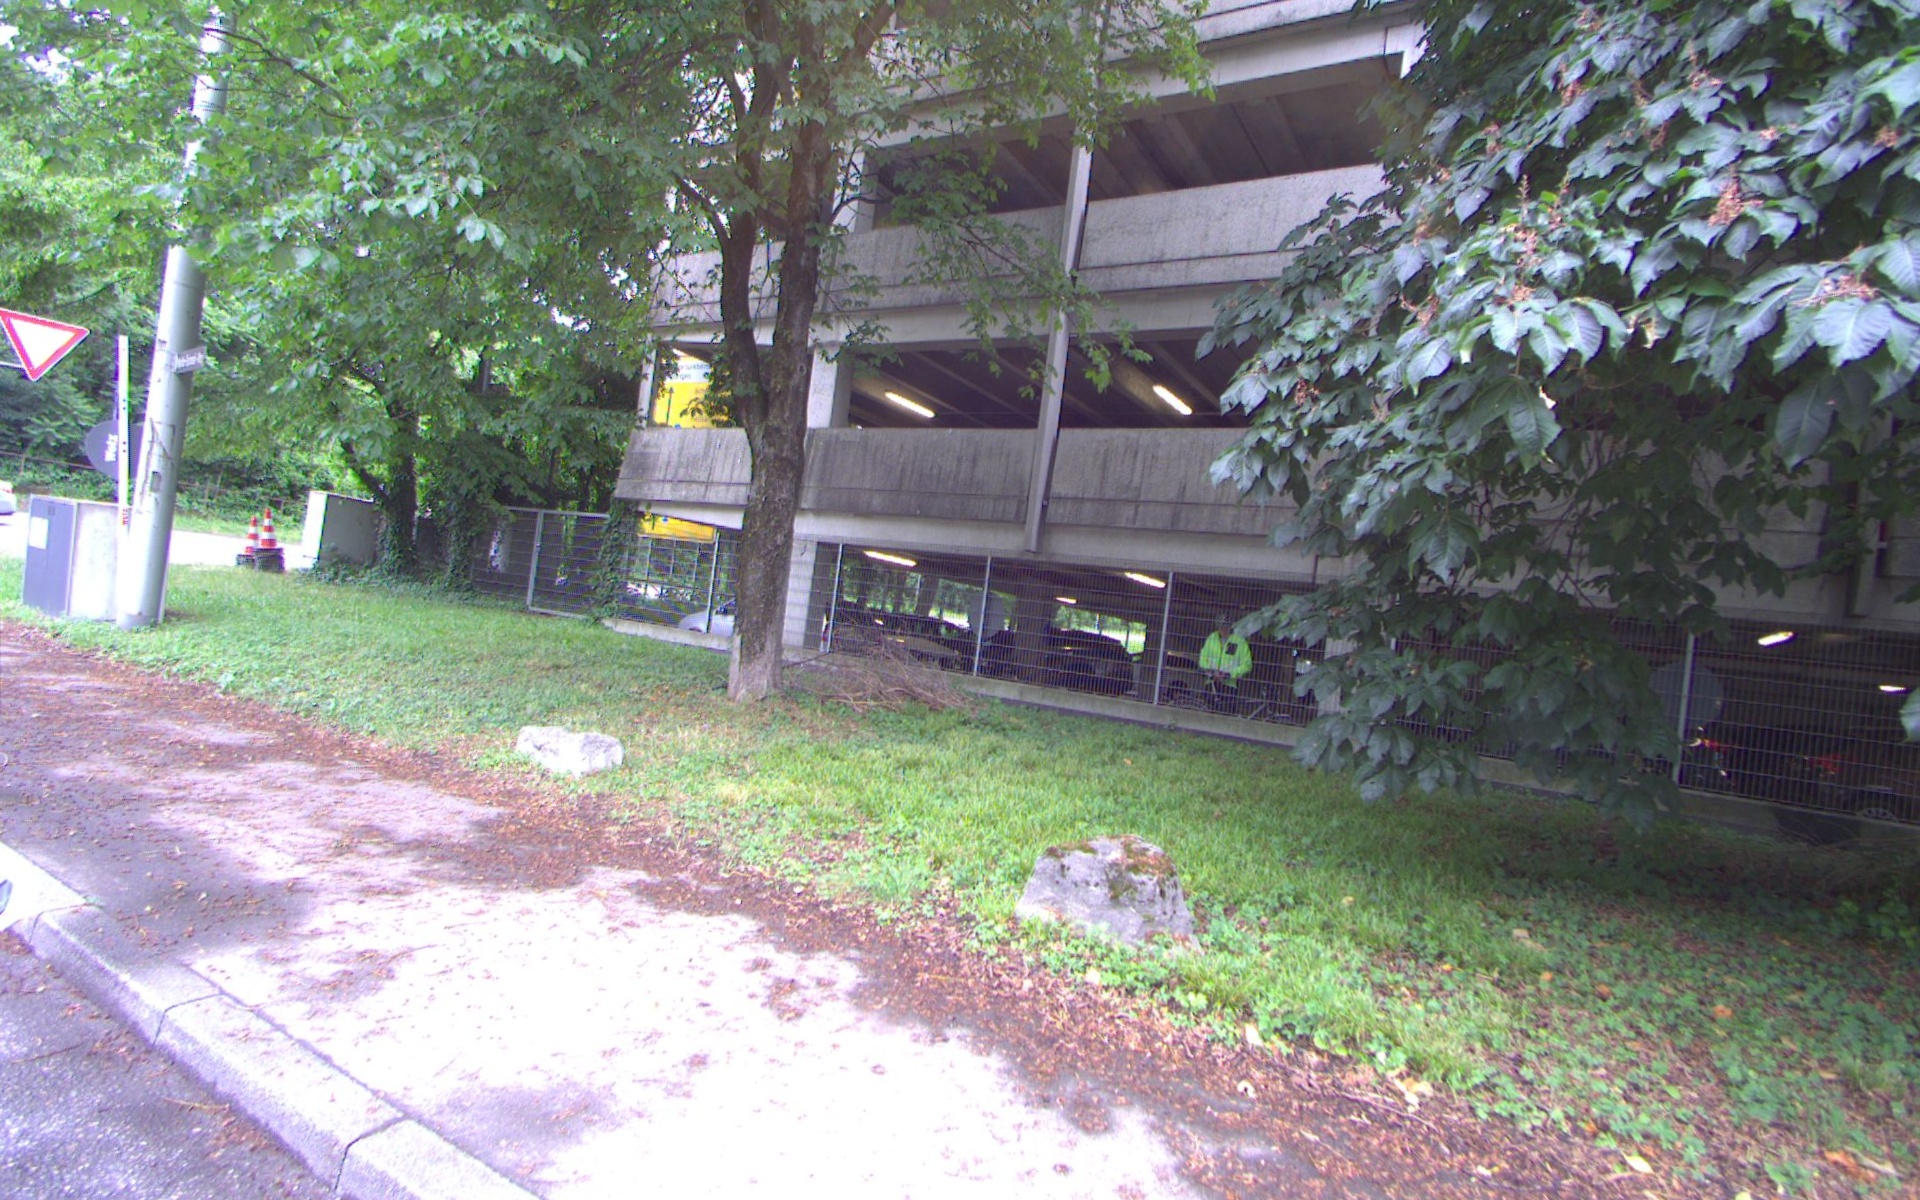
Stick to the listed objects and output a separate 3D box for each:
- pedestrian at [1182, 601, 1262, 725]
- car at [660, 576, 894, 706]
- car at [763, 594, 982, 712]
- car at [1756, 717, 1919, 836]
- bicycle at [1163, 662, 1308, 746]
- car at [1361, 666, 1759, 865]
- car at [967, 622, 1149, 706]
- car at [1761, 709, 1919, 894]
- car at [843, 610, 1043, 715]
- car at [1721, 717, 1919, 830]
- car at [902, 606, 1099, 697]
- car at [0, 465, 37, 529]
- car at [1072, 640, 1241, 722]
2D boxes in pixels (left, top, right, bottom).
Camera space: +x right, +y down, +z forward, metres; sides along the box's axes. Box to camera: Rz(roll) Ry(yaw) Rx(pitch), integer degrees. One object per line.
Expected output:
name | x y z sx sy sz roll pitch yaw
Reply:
pedestrian | 3.032 0.737 11.618 0.626 1.332 0.642 5 -3 31
car | -3.117 0.658 16.905 3.658 1.727 1.484 5 -3 32
car | -1.671 0.974 18.831 3.707 1.727 1.584 5 -3 32
car | 15.607 2.990 16.525 3.640 1.625 1.721 5 -3 30
bicycle | 3.116 1.165 11.386 1.469 0.744 0.448 6 -3 24
car | 8.617 2.290 14.844 4.597 2.036 1.998 5 -3 31
car | 2.427 1.595 25.160 3.934 1.569 1.998 5 -3 32
car | 12.667 2.654 12.476 3.935 2.036 1.997 5 -3 33
car | -0.378 1.281 20.887 3.658 1.682 1.734 5 -3 32
car | 16.596 3.241 18.660 3.640 1.625 1.721 5 -3 30
car | 0.919 1.178 23.224 3.934 1.569 1.998 5 -3 32
car | -23.691 -2.681 22.013 1.802 1.349 4.762 10 -1 30
car | 6.133 2.521 31.561 4.658 1.855 1.923 6 -3 33
